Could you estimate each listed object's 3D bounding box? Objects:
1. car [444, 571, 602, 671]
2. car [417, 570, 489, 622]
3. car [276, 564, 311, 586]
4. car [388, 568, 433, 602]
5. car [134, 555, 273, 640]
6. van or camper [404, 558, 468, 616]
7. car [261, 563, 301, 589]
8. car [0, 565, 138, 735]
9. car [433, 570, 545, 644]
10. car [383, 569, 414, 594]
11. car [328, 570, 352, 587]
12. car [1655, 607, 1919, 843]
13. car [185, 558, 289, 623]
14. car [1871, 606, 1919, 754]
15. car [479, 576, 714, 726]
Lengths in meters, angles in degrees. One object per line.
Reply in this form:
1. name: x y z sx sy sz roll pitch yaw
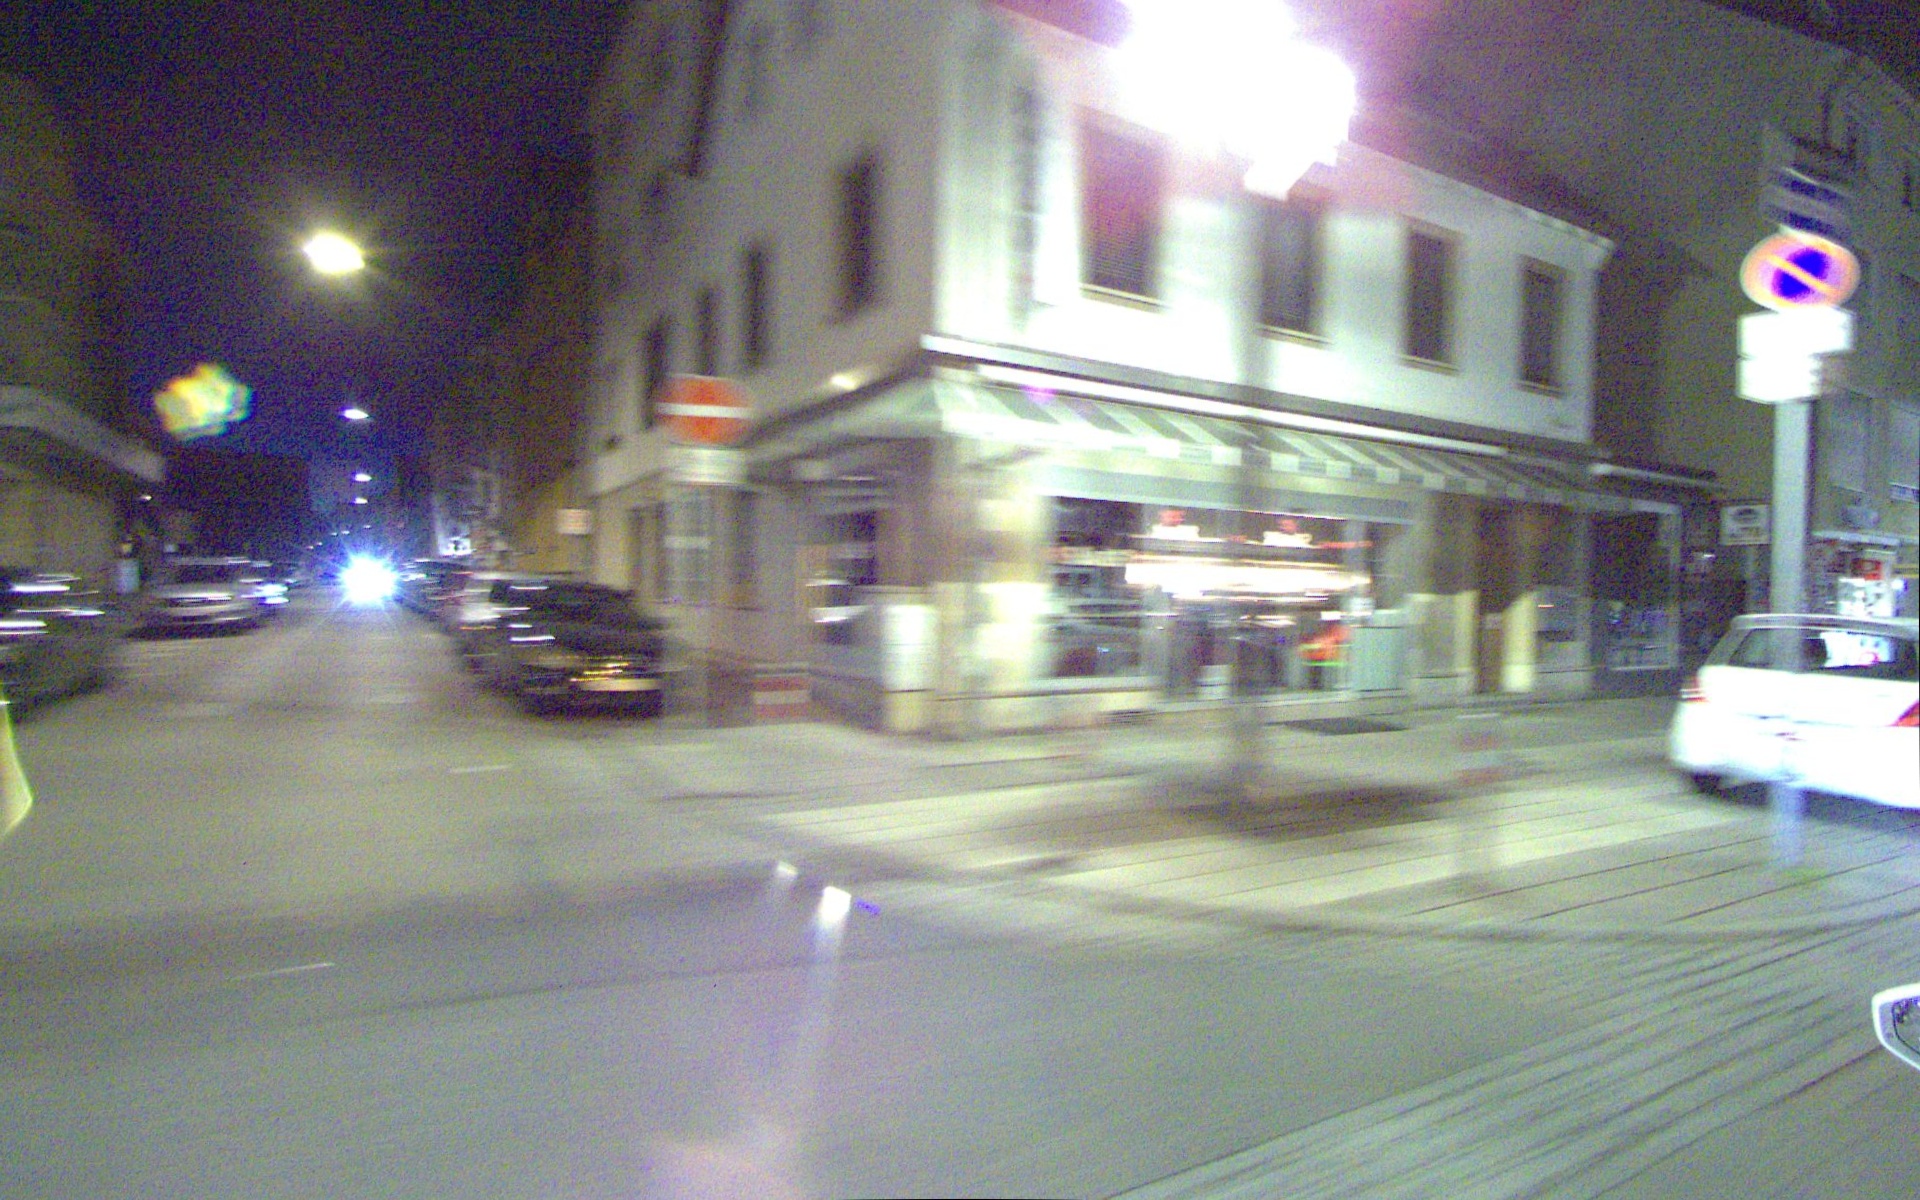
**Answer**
1. car: -7.223 0.282 16.373 1.789 1.410 3.965 3 0 -32
2. car: -15.197 -0.153 30.019 1.593 1.410 3.647 2 0 -32
3. car: -51.392 -1.934 77.494 1.977 1.670 3.966 -2 2 -31
4. car: -25.030 -0.718 45.699 1.593 1.410 3.647 2 0 -32
5. car: -16.460 -0.096 22.070 1.977 1.670 3.966 -2 2 -31
6. van or camper: -18.530 -0.495 35.422 1.593 1.828 4.940 2 0 -31
7. car: -46.002 -1.624 68.108 1.977 1.670 3.966 -2 2 -31
8. car: -9.783 0.379 9.977 1.759 1.420 4.419 -2 3 -30
9. car: -10.281 0.113 21.782 1.730 1.410 3.965 2 0 -32
10. car: -32.229 -1.067 57.645 1.374 1.311 3.303 2 0 -32
11. car: -62.061 -2.157 100.545 1.977 1.670 3.966 -2 2 -31
12. car: 7.566 0.853 8.191 3.803 1.496 1.719 1 1 -32
13. car: -19.964 -0.279 27.905 1.977 1.670 3.966 -2 2 -31
14. car: 12.346 0.911 11.107 4.951 1.508 2.008 1 3 -32
15. car: -4.386 0.484 11.731 1.789 1.394 3.965 3 0 -32
